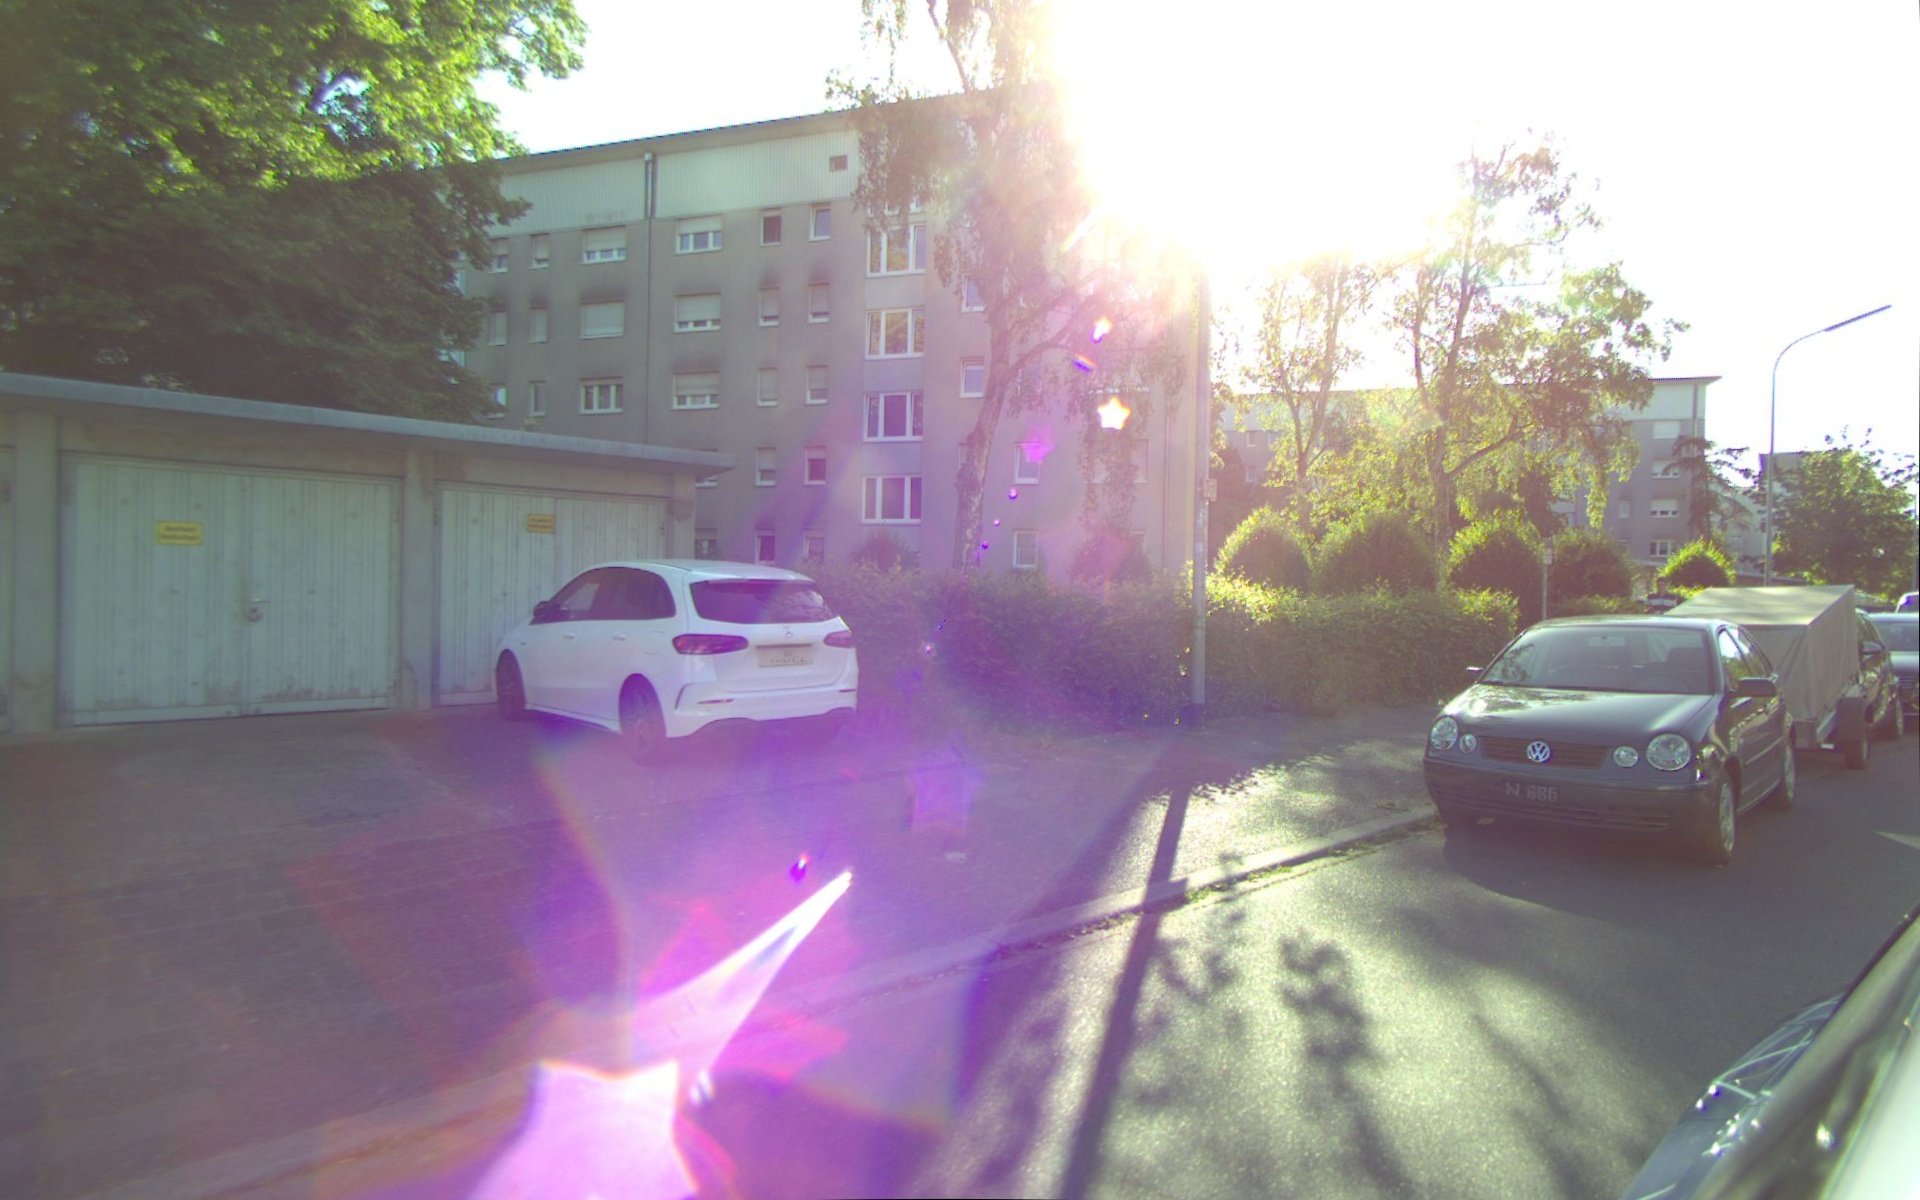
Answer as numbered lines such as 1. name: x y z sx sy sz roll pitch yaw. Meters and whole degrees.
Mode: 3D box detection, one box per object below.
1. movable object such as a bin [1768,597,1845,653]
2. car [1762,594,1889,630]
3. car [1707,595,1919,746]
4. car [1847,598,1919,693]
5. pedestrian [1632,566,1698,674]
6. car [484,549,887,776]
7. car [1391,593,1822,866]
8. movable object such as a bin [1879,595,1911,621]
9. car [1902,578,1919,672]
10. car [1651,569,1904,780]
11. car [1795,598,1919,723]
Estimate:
1. movable object such as a bin: 21.662 0.624 25.905 1.359 1.325 1.031 1 4 -31
2. car: 38.819 0.501 45.470 1.787 1.513 4.186 0 0 -43
3. car: 9.861 0.718 11.617 2.510 1.543 1.419 0 -1 -37
4. car: 16.811 0.729 17.593 3.966 1.509 1.625 0 -1 -42
5. pedestrian: 13.022 0.354 18.690 0.857 1.911 0.705 0 3 -40
6. car: -2.599 0.355 8.966 1.798 1.532 3.948 0 2 -43
7. car: 4.768 0.679 7.239 3.830 1.421 1.733 0 0 -44
8. movable object such as a bin: 53.518 0.470 57.905 1.324 1.449 1.013 1 0 44
9. car: 22.236 0.520 22.215 4.623 1.959 1.855 0 -1 -42
10. car: 7.914 0.616 9.758 2.538 1.740 1.491 0 -1 -41
11. car: 12.927 0.731 13.891 4.426 1.509 1.733 0 -1 -44
